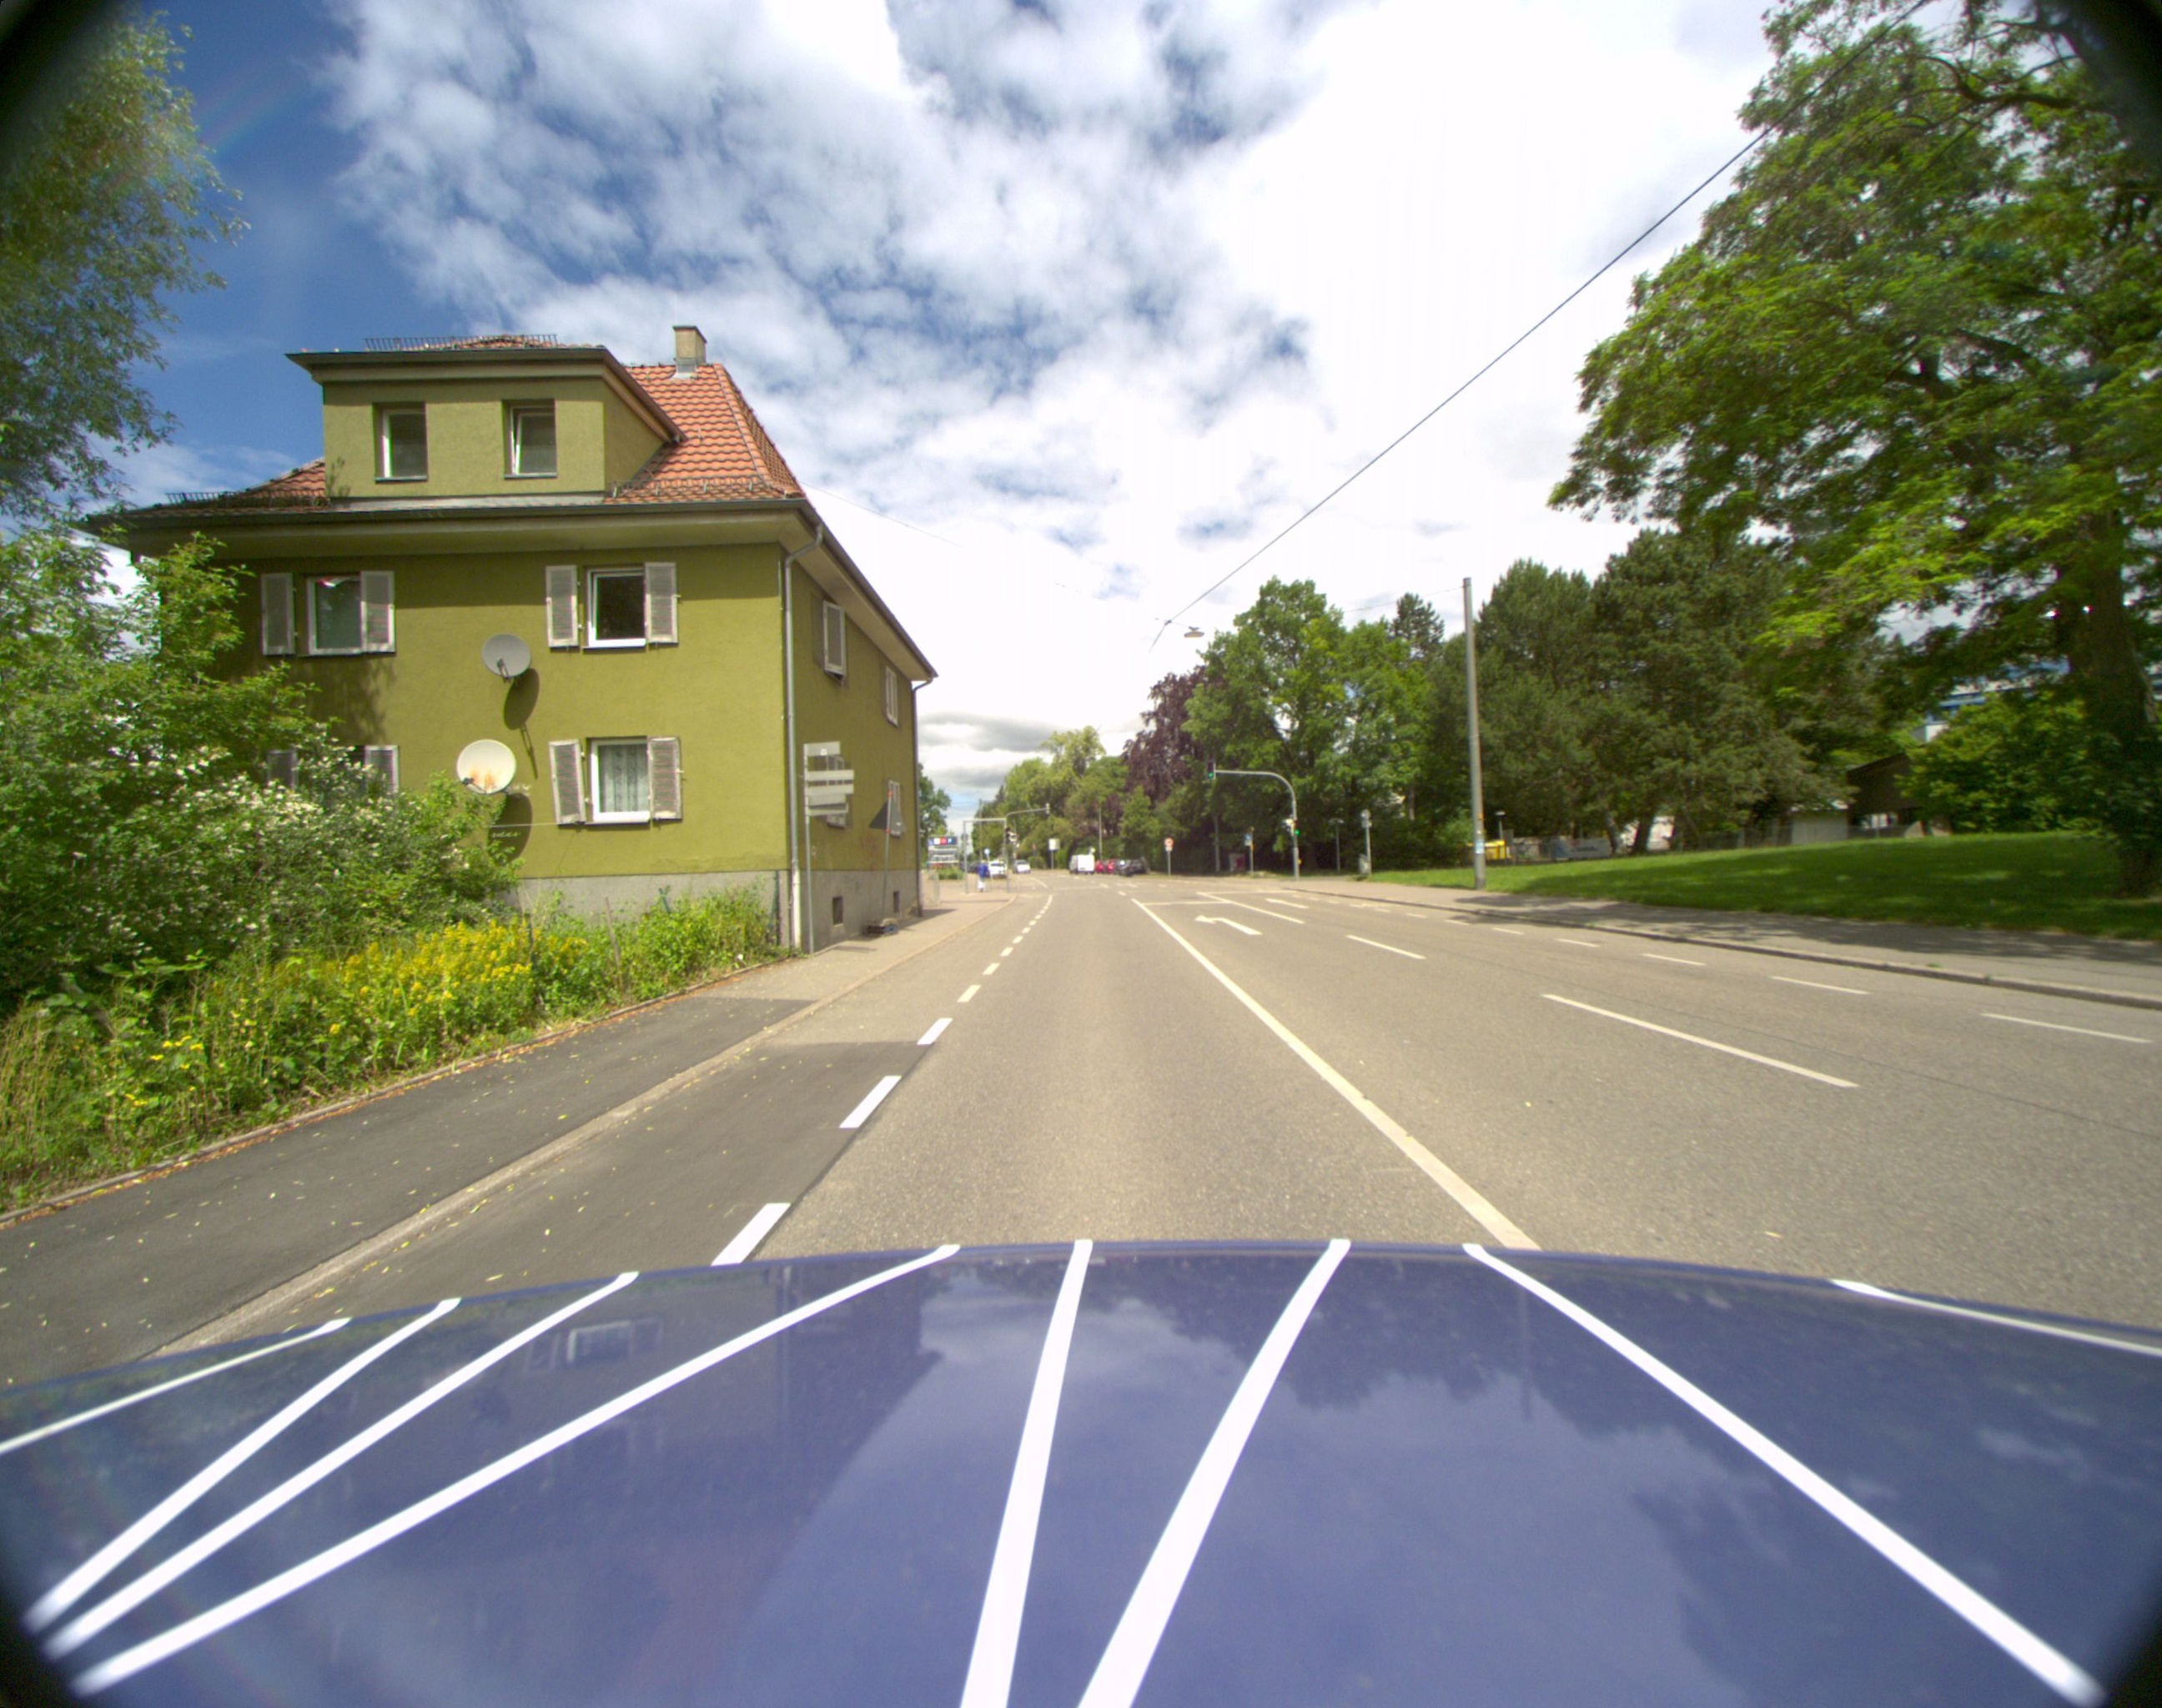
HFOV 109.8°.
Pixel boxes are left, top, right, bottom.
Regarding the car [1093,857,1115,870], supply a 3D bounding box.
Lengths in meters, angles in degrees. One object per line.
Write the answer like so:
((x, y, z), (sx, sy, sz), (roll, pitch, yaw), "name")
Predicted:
((2.446, 1.000, 81.986), (1.531, 1.358, 3.371), (-3, 1, -12), "car")

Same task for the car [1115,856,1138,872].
((4.321, 0.969, 72.589), (1.560, 1.404, 3.191), (-3, 1, -9), "car")

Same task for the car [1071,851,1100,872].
((0.424, 0.719, 77.596), (2.000, 2.011, 5.347), (-1, 0, -10), "car")

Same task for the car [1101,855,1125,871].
((3.219, 0.916, 76.966), (1.524, 1.469, 3.321), (-3, 0, -12), "car")

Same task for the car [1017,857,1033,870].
((-6.894, 1.132, 92.726), (1.552, 1.418, 3.853), (-3, 0, -9), "car")

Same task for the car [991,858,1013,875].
((-7.236, 1.111, 68.966), (1.796, 1.522, 3.918), (1, 0, -9), "car")

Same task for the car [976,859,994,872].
((-12.252, 1.421, 97.296), (1.707, 1.522, 3.995), (-3, 0, -15), "car")

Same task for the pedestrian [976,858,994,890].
((-4.839, 1.006, 38.484), (0.826, 1.563, 0.987), (-1, 1, -4), "pedestrian")

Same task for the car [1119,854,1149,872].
((4.721, 0.811, 67.899), (1.688, 1.407, 4.398), (-3, 1, -9), "car")
